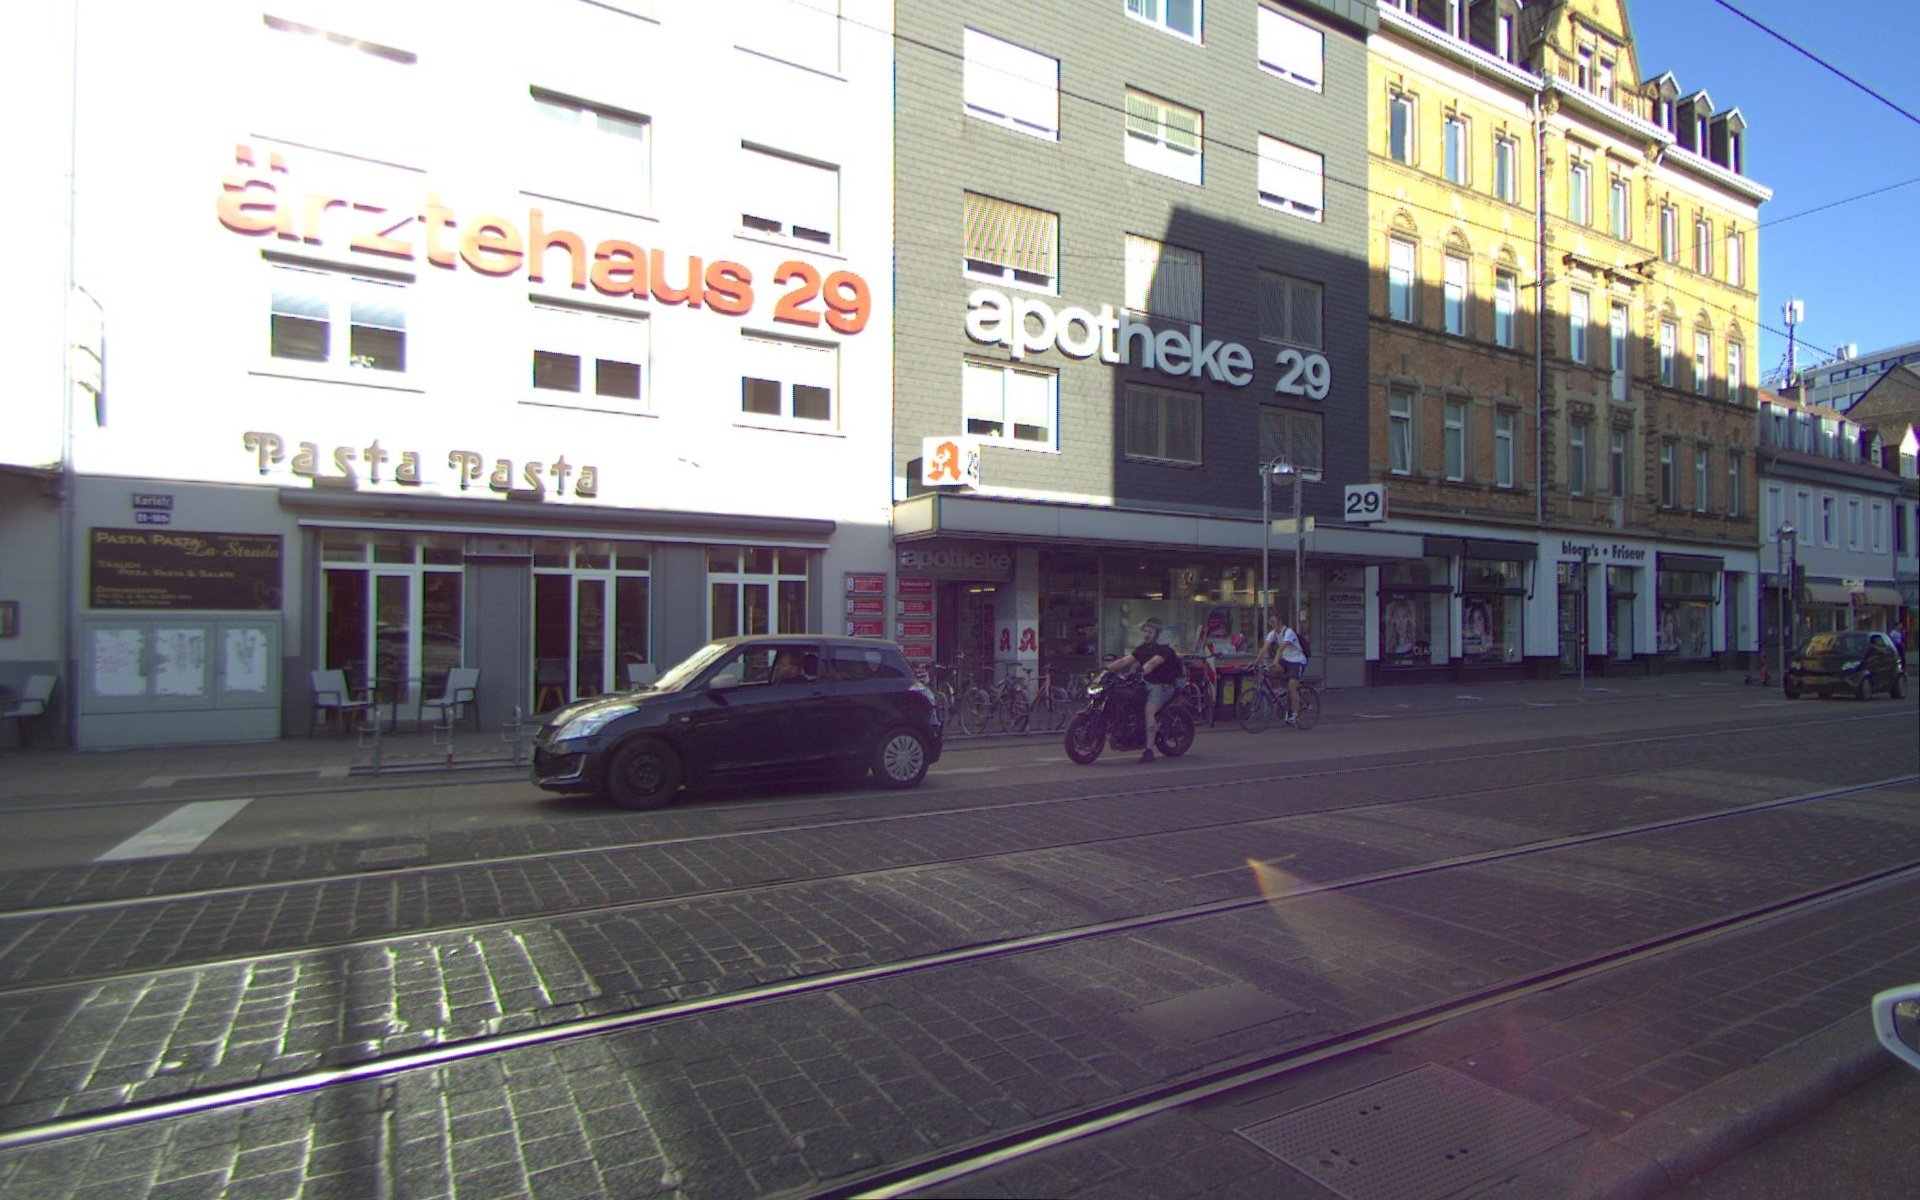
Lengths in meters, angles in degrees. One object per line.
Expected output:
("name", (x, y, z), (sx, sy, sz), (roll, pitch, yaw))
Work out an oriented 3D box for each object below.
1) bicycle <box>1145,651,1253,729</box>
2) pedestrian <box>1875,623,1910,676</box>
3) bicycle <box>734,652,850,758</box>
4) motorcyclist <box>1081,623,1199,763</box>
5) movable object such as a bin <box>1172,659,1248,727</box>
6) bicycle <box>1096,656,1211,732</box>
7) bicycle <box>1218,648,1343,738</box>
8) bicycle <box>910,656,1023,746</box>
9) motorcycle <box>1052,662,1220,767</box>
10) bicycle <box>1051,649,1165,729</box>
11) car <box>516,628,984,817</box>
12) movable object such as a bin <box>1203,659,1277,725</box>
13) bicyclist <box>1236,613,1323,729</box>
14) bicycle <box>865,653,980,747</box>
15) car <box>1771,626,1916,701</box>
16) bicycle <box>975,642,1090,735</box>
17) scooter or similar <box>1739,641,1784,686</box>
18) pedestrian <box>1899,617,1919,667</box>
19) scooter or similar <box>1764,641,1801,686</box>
("bicycle", (3.989, 1.476, 16.914), (0.546, 1.206, 1.923), (1, -2, -33))
("pedestrian", (31.807, 1.685, 34.263), (0.707, 1.799, 0.613), (1, -1, -17))
("bicycle", (-2.357, 1.394, 13.888), (0.766, 1.240, 2.089), (1, -1, -34))
("motorcyclist", (2.144, 1.080, 12.002), (1.132, 1.578, 0.800), (1, -3, -29))
("movable object such as a bin", (4.342, 1.598, 17.500), (0.726, 1.086, 1.094), (1, 0, -29))
("bicycle", (3.203, 1.534, 16.789), (0.766, 1.125, 1.922), (1, -2, -34))
("bicycle", (5.053, 1.426, 15.797), (2.002, 1.310, 0.747), (1, -2, -30))
("bicycle", (0.070, 1.482, 15.213), (0.766, 1.208, 1.922), (1, -2, -34))
("motorcycle", (2.103, 1.314, 11.885), (2.092, 1.134, 0.567), (1, -3, -30))
("bicycle", (2.396, 1.424, 16.497), (0.766, 1.167, 1.922), (1, -1, -34))
("car", (-1.958, 1.041, 9.646), (4.089, 1.464, 1.706), (1, -4, -30))
("movable object such as a bin", (4.966, 1.612, 17.854), (0.690, 1.077, 1.094), (1, 0, -29))
("bicyclist", (5.049, 1.096, 15.869), (1.132, 1.752, 0.747), (1, -2, -29))
("bicycle", (-0.586, 1.421, 14.767), (0.766, 1.188, 1.922), (1, 0, -34))
("car", (20.000, 1.385, 22.742), (2.796, 1.586, 1.641), (1, -2, -30))
("bicycle", (1.108, 1.343, 15.814), (0.766, 1.297, 1.922), (1, -1, -34))
("scooter or similar", (22.660, 1.781, 28.387), (1.461, 1.218, 0.575), (1, 0, -34))
("pedestrian", (35.596, 1.558, 37.513), (0.636, 1.847, 0.652), (1, -1, -36))
("scooter or similar", (22.901, 1.759, 27.965), (1.461, 1.218, 0.362), (1, 1, -34))
